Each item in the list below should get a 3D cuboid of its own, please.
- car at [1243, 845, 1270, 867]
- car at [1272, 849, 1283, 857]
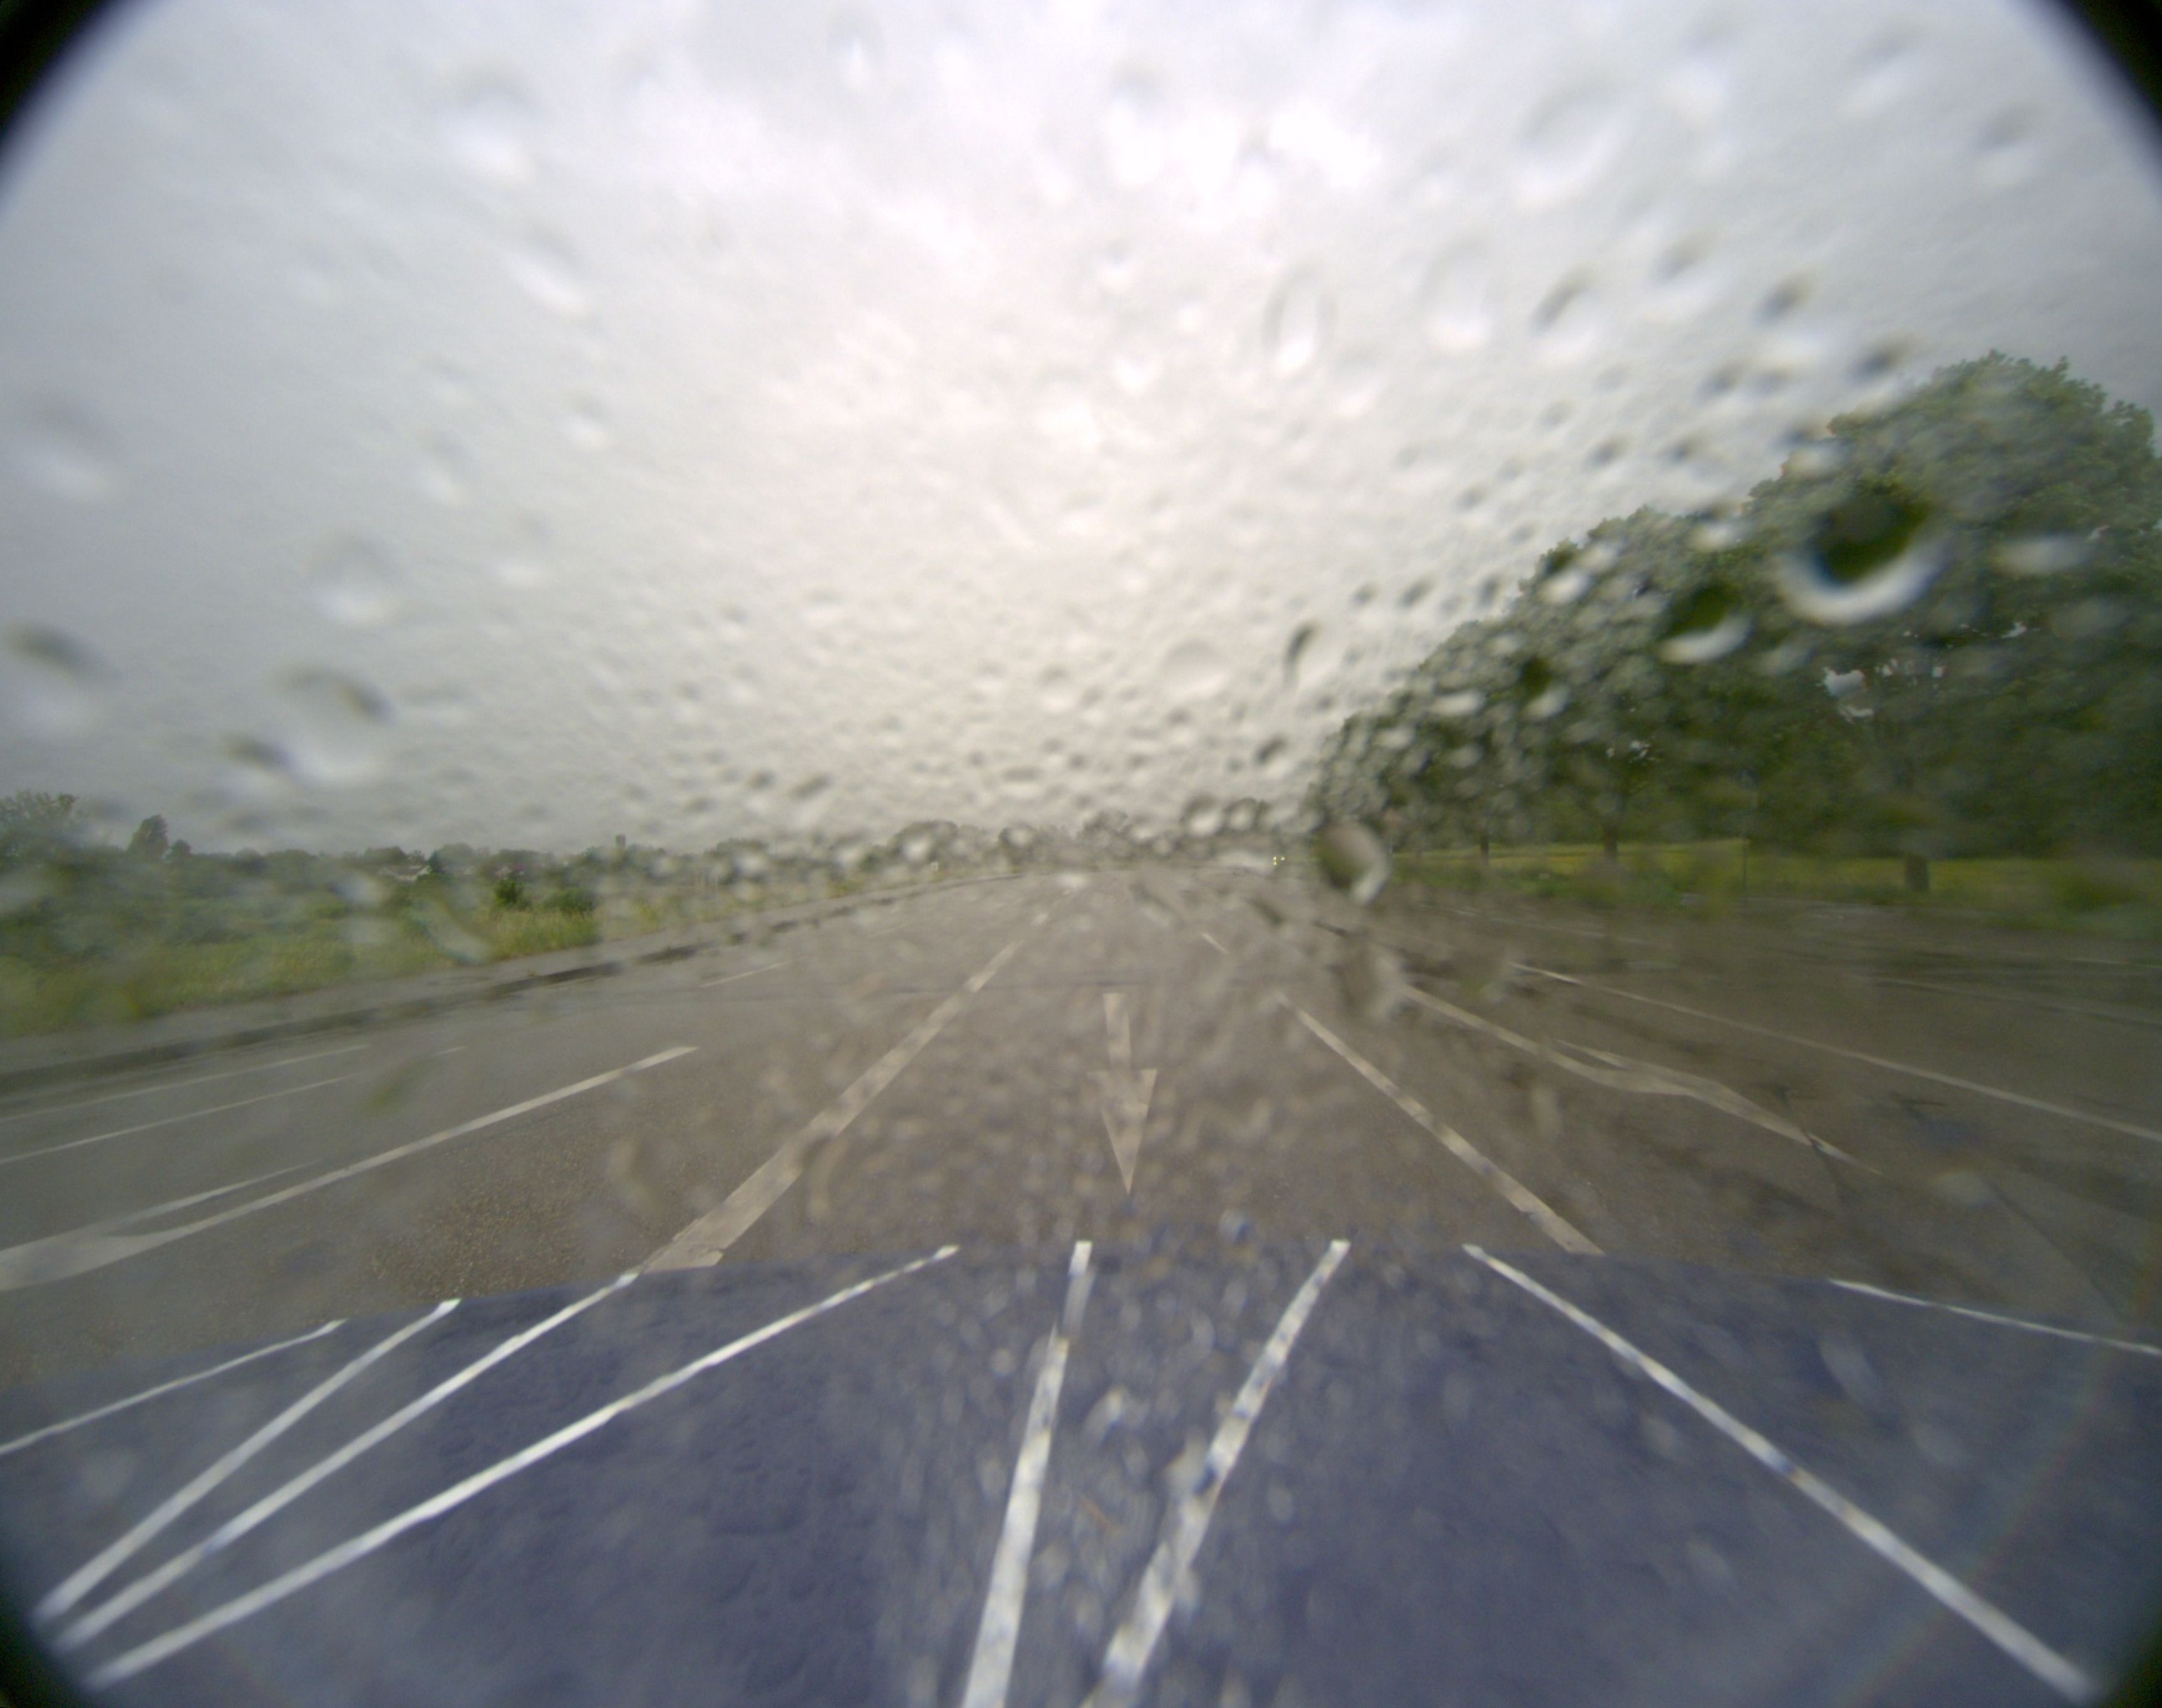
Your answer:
[{"bbox_3d":[15.868,0.153,68.446,2.109,1.881,4.796,-1,0,16],"label":"car"},{"bbox_3d":[39.943,-0.283,154.473,1.914,1.576,4.106,-2,1,12],"label":"car"}]
